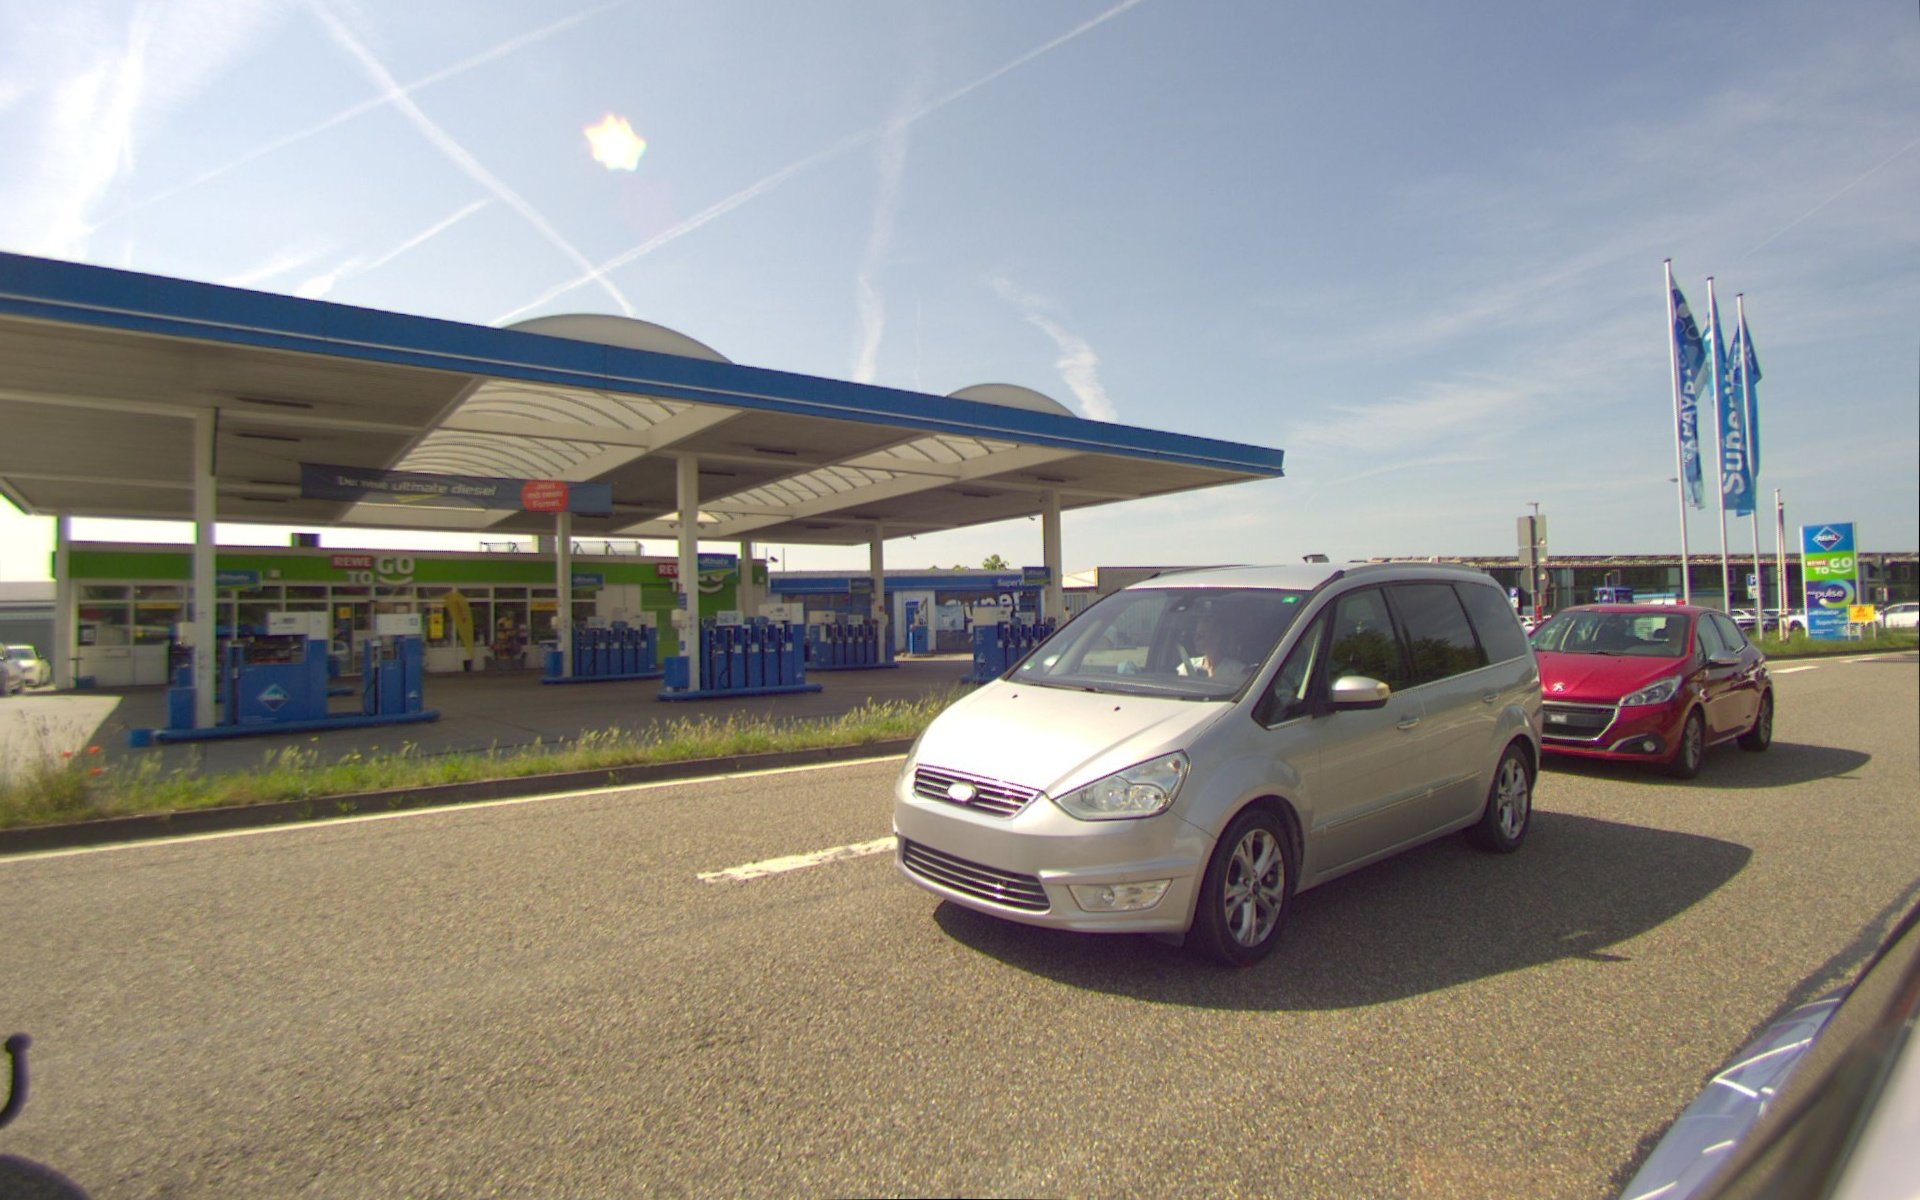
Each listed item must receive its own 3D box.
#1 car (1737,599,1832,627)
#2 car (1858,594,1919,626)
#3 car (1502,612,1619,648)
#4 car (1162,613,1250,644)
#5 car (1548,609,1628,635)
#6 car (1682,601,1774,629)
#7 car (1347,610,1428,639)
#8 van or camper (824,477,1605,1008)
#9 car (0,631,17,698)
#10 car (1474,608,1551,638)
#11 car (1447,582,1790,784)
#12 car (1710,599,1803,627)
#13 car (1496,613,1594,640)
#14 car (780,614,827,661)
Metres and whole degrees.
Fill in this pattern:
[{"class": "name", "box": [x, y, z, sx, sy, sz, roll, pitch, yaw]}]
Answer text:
[{"class": "car", "box": [51.316, 0.859, 63.094, 1.785, 1.659, 4.471, 1, -2, -9]}, {"class": "car", "box": [51.477, 0.557, 54.552, 1.784, 1.659, 4.266, 1, -2, -15]}, {"class": "car", "box": [32.701, 1.663, 55.292, 5.184, 1.854, 1.983, -2, -1, 24]}, {"class": "car", "box": [13.933, 1.605, 57.430, 4.435, 1.625, 1.893, -1, -1, -13]}, {"class": "car", "box": [37.334, 1.327, 60.298, 1.785, 1.477, 4.051, 1, -2, -9]}, {"class": "car", "box": [47.371, 0.937, 62.546, 1.785, 1.659, 4.471, 1, -2, -9]}, {"class": "car", "box": [25.275, 1.446, 59.927, 3.940, 1.625, 1.892, -1, -1, -6]}, {"class": "van or camper", "box": [1.831, 0.496, 5.790, 5.043, 1.810, 1.749, 0, -2, -41]}, {"class": "car", "box": [-25.549, 1.649, 25.897, 1.722, 1.659, 3.995, 0, -2, -38]}, {"class": "car", "box": [31.996, 1.337, 58.701, 1.852, 1.625, 4.025, -1, -1, -7]}, {"class": "car", "box": [6.472, 0.637, 9.826, 3.647, 1.592, 1.805, 0, 0, -39]}, {"class": "car", "box": [49.366, 0.805, 62.833, 1.785, 1.659, 4.471, 1, -2, -9]}, {"class": "car", "box": [30.060, 1.361, 52.140, 4.071, 1.269, 1.688, -2, -1, 19]}, {"class": "car", "box": [-6.828, 1.652, 43.960, 1.864, 1.849, 4.739, -2, -3, -9]}]
